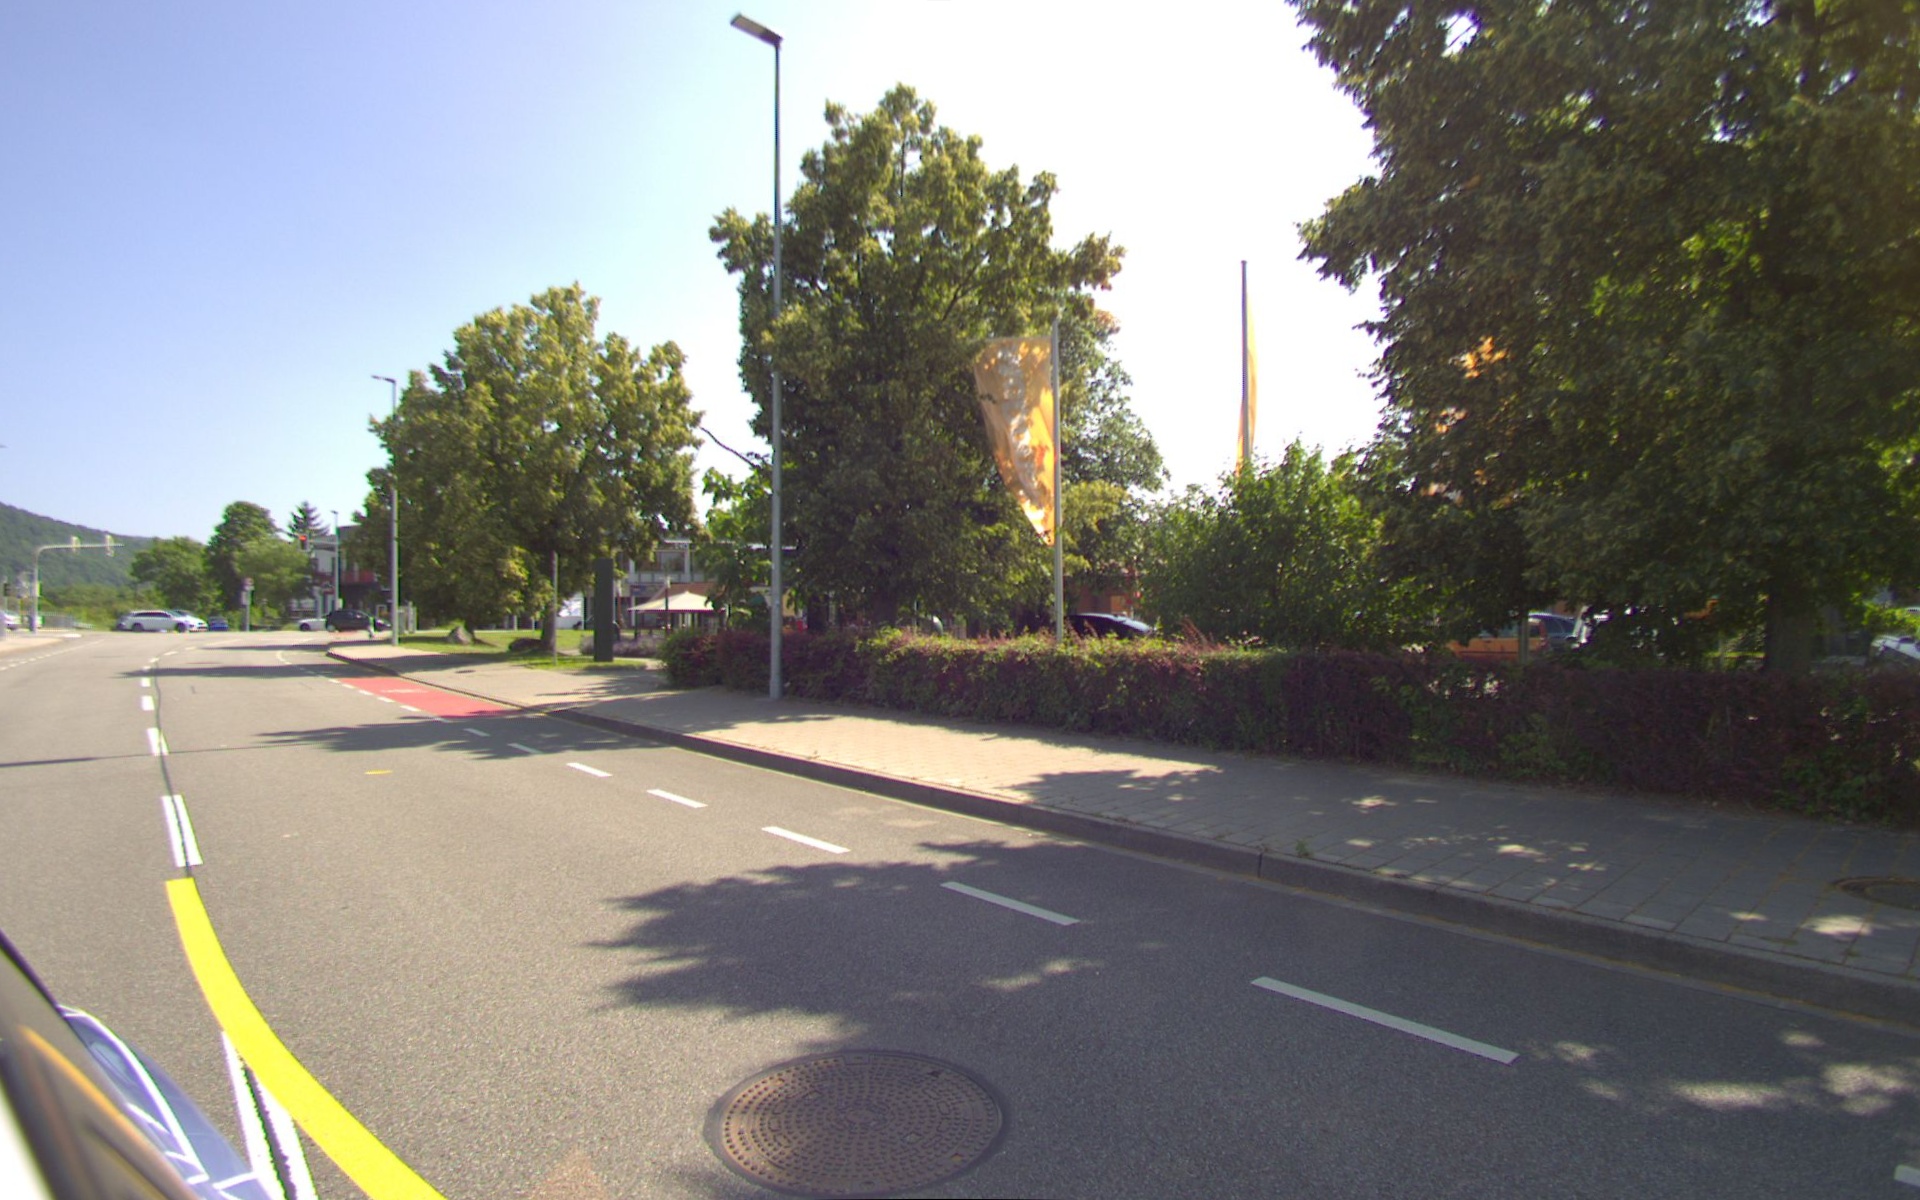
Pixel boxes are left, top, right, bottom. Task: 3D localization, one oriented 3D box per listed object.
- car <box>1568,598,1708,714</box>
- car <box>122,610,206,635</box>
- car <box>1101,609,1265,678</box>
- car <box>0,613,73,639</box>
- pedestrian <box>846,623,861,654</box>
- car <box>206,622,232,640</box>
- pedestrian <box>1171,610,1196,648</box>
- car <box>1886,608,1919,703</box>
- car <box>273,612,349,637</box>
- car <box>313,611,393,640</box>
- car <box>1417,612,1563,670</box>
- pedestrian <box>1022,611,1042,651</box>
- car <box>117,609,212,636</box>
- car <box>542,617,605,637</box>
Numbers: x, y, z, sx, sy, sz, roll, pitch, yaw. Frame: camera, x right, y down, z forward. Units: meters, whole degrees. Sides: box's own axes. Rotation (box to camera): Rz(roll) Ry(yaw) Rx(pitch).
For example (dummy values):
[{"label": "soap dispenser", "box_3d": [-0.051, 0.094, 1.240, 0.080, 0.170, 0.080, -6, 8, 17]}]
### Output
[{"label": "car", "box_3d": [12.177, 0.936, 18.426, 1.742, 1.841, 4.310, -2, -2, 29]}, {"label": "car", "box_3d": [-56.156, 1.551, 71.484, 4.298, 1.638, 1.836, 0, 2, -12]}, {"label": "car", "box_3d": [6.260, 1.189, 28.483, 4.206, 1.812, 1.744, -1, -1, 27]}, {"label": "car", "box_3d": [-64.547, 1.786, 70.110, 4.298, 1.638, 1.836, 0, 2, -12]}, {"label": "pedestrian", "box_3d": [-4.479, 1.628, 42.591, 0.544, 1.219, 0.593, -4, 2, -6]}, {"label": "car", "box_3d": [-66.714, 2.756, 91.069, 1.586, 1.547, 3.688, 1, -1, -41]}, {"label": "pedestrian", "box_3d": [9.790, 1.273, 44.267, 0.832, 1.650, 0.778, -1, -1, 38]}, {"label": "car", "box_3d": [17.105, 0.940, 16.745, 1.899, 1.595, 3.770, -1, 0, 32]}, {"label": "car", "box_3d": [-47.156, 1.764, 73.611, 4.298, 1.638, 1.836, 0, 2, -12]}, {"label": "car", "box_3d": [-41.523, 1.703, 69.307, 4.299, 1.863, 1.836, 0, 2, -10]}, {"label": "car", "box_3d": [15.970, 1.202, 30.559, 3.716, 1.644, 1.649, -1, -1, 36]}, {"label": "pedestrian", "box_3d": [2.882, 1.234, 40.566, 0.596, 1.579, 0.564, -1, -1, 36]}, {"label": "car", "box_3d": [-53.001, 1.487, 67.493, 4.691, 1.664, 1.835, 0, 2, -9]}, {"label": "car", "box_3d": [-29.575, 2.063, 77.511, 4.298, 1.356, 1.836, 0, 2, -12]}]
